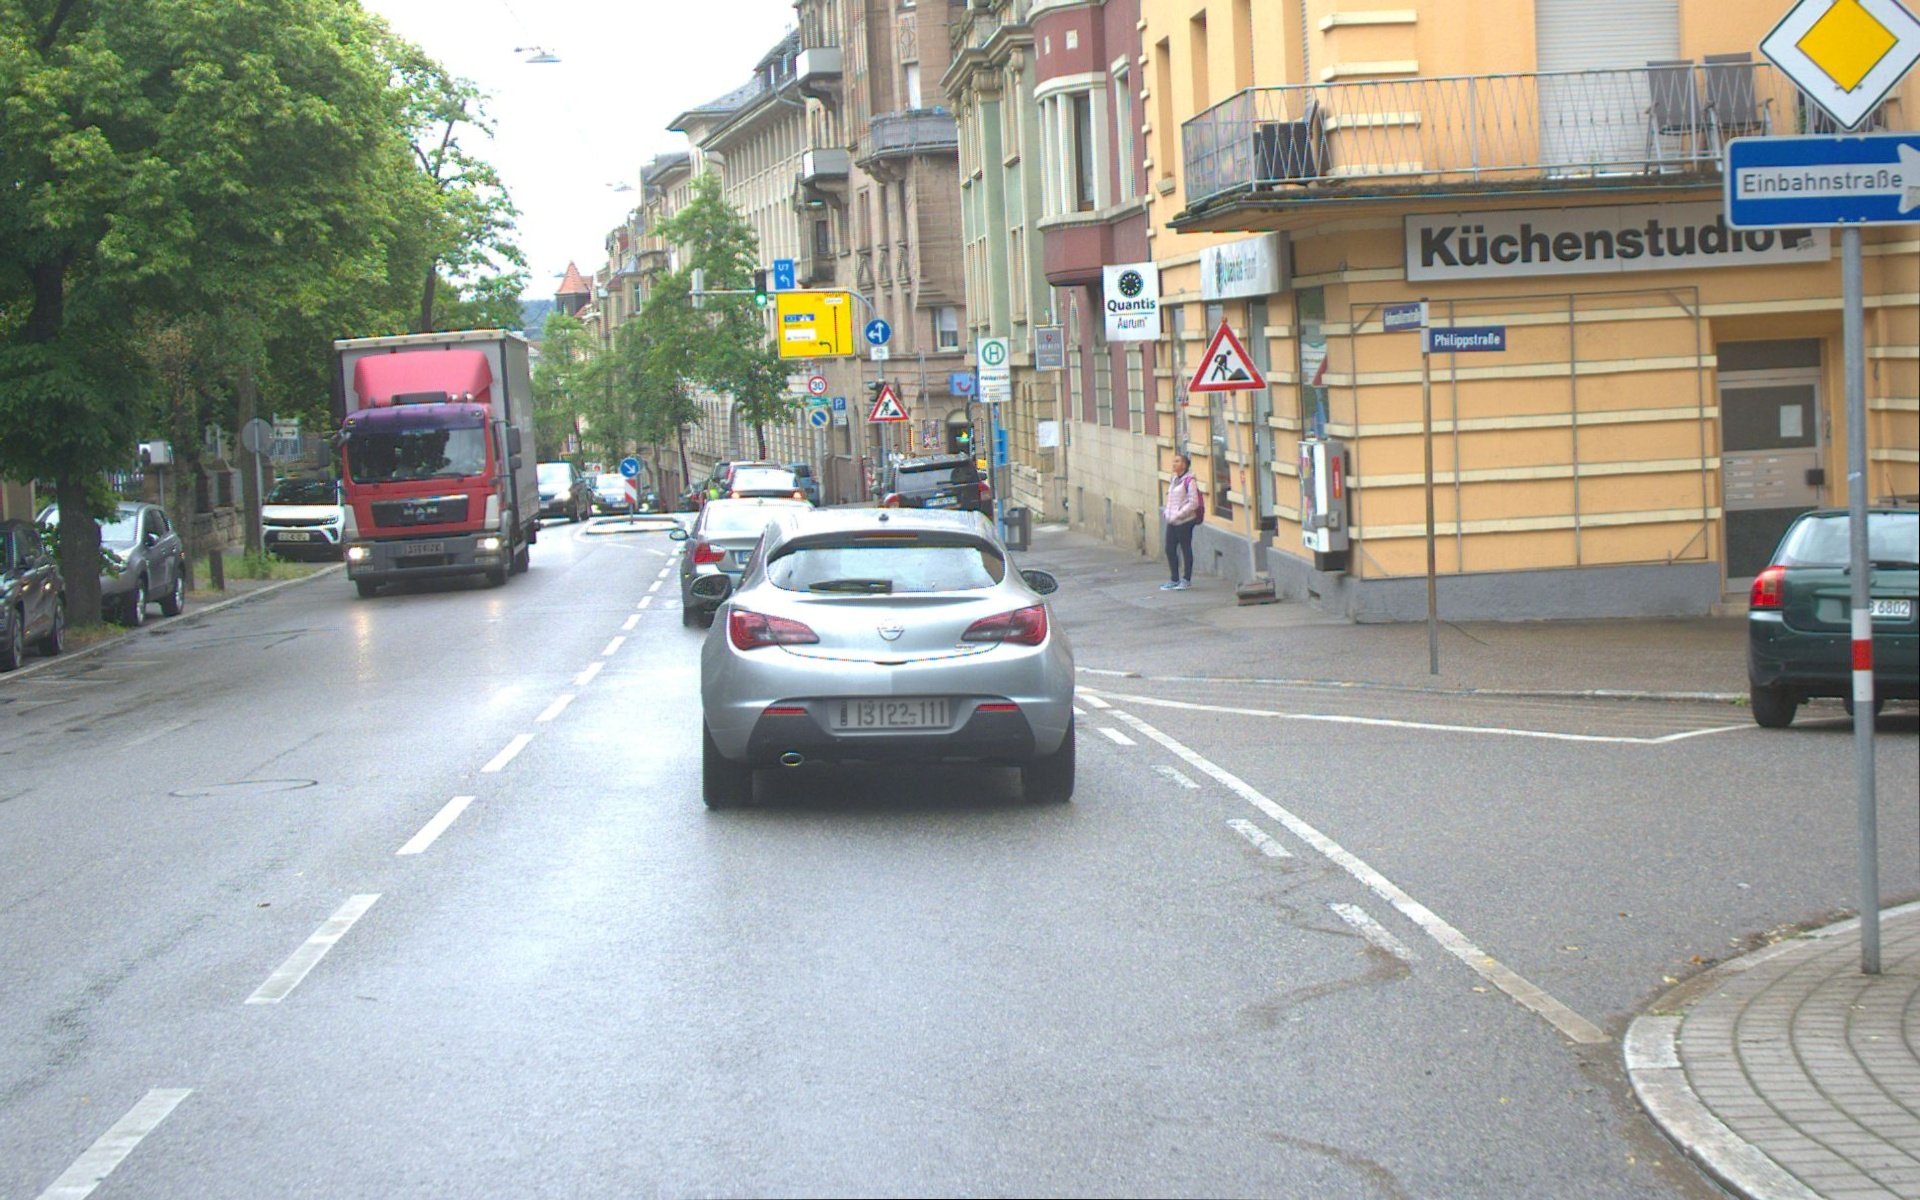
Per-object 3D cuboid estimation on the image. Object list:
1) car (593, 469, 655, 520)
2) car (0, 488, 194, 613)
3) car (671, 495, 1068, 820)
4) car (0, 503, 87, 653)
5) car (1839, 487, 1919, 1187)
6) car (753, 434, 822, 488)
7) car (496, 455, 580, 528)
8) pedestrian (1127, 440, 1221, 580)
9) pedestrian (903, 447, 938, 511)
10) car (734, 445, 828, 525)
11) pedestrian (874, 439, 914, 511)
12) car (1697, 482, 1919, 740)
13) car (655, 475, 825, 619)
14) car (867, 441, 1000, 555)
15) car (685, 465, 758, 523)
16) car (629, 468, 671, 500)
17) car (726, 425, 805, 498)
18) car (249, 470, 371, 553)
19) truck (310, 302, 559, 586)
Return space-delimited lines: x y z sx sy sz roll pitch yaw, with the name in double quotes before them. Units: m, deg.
"car" -10.804 -3.410 110.448 1.815 1.512 4.550 -2 3 -7
"car" -11.579 -0.703 46.262 1.741 1.553 4.303 -1 2 -3
"car" -0.496 0.212 18.025 1.811 1.444 3.870 -2 2 -2
"car" -10.907 -0.289 38.190 1.741 1.554 4.303 0 2 -6
"car" 2.916 0.517 5.711 1.609 1.496 3.959 -4 2 -3
"car" -5.642 -4.522 112.037 1.656 1.537 3.666 -6 2 -10
"car" -10.564 -2.751 86.242 1.772 1.512 4.592 -4 5 -4
"pedestrian" 2.497 -1.050 40.137 0.766 1.584 0.712 -4 2 -22
"pedestrian" -1.018 -3.122 88.632 0.597 1.579 0.665 -4 4 16
"car" -3.571 -2.309 68.789 1.772 1.499 3.870 -2 2 -3
"pedestrian" -1.693 -3.228 88.829 0.718 1.768 0.665 -4 4 16
"car" 6.464 -0.015 22.893 1.852 1.464 4.104 -2 2 29
"car" -2.470 -0.638 39.037 1.772 1.499 3.870 -2 2 -3
"car" -0.486 -1.708 57.243 1.876 1.624 4.698 -6 2 -3
"car" -7.160 -3.155 102.854 1.656 1.537 3.666 -6 2 -10
"car" -14.935 -5.566 165.659 1.637 1.424 3.378 -4 2 -10
"car" -4.600 -3.271 81.639 1.656 1.537 3.666 -5 2 -2
"car" -12.736 -1.756 67.566 1.741 1.553 4.303 -1 2 -3
"truck" -8.055 -2.432 53.853 2.647 3.841 9.309 -5 3 -3
